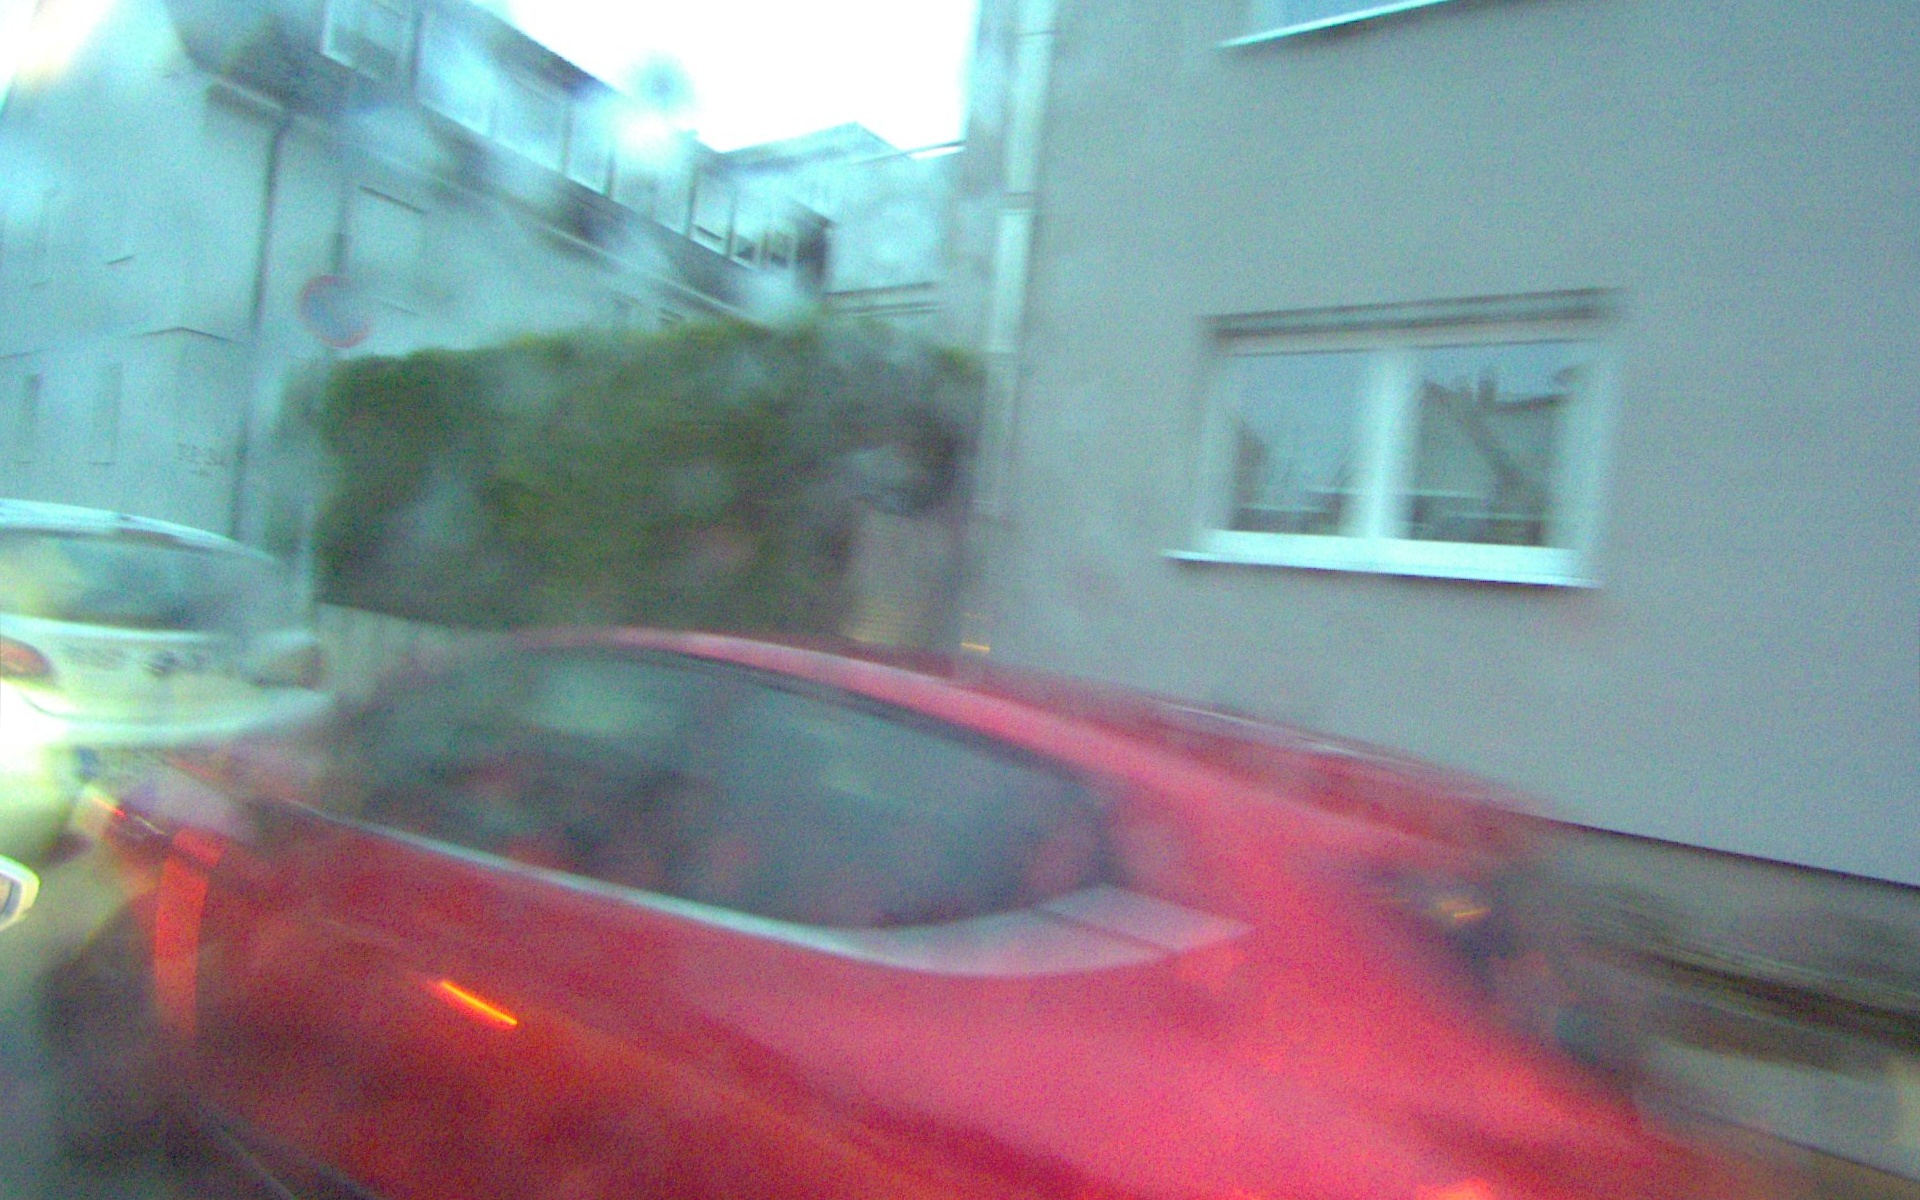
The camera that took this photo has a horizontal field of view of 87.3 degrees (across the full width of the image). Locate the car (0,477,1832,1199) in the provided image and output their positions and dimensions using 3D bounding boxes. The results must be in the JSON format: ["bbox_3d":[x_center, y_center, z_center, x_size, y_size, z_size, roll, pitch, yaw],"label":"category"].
[{"bbox_3d":[-0.600,0.631,2.405,3.689,1.412,1.681,7,0,32],"label":"car"}]

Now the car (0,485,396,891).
[{"bbox_3d":[-4.845,0.196,5.193,3.690,1.526,1.727,7,0,32],"label":"car"}]
